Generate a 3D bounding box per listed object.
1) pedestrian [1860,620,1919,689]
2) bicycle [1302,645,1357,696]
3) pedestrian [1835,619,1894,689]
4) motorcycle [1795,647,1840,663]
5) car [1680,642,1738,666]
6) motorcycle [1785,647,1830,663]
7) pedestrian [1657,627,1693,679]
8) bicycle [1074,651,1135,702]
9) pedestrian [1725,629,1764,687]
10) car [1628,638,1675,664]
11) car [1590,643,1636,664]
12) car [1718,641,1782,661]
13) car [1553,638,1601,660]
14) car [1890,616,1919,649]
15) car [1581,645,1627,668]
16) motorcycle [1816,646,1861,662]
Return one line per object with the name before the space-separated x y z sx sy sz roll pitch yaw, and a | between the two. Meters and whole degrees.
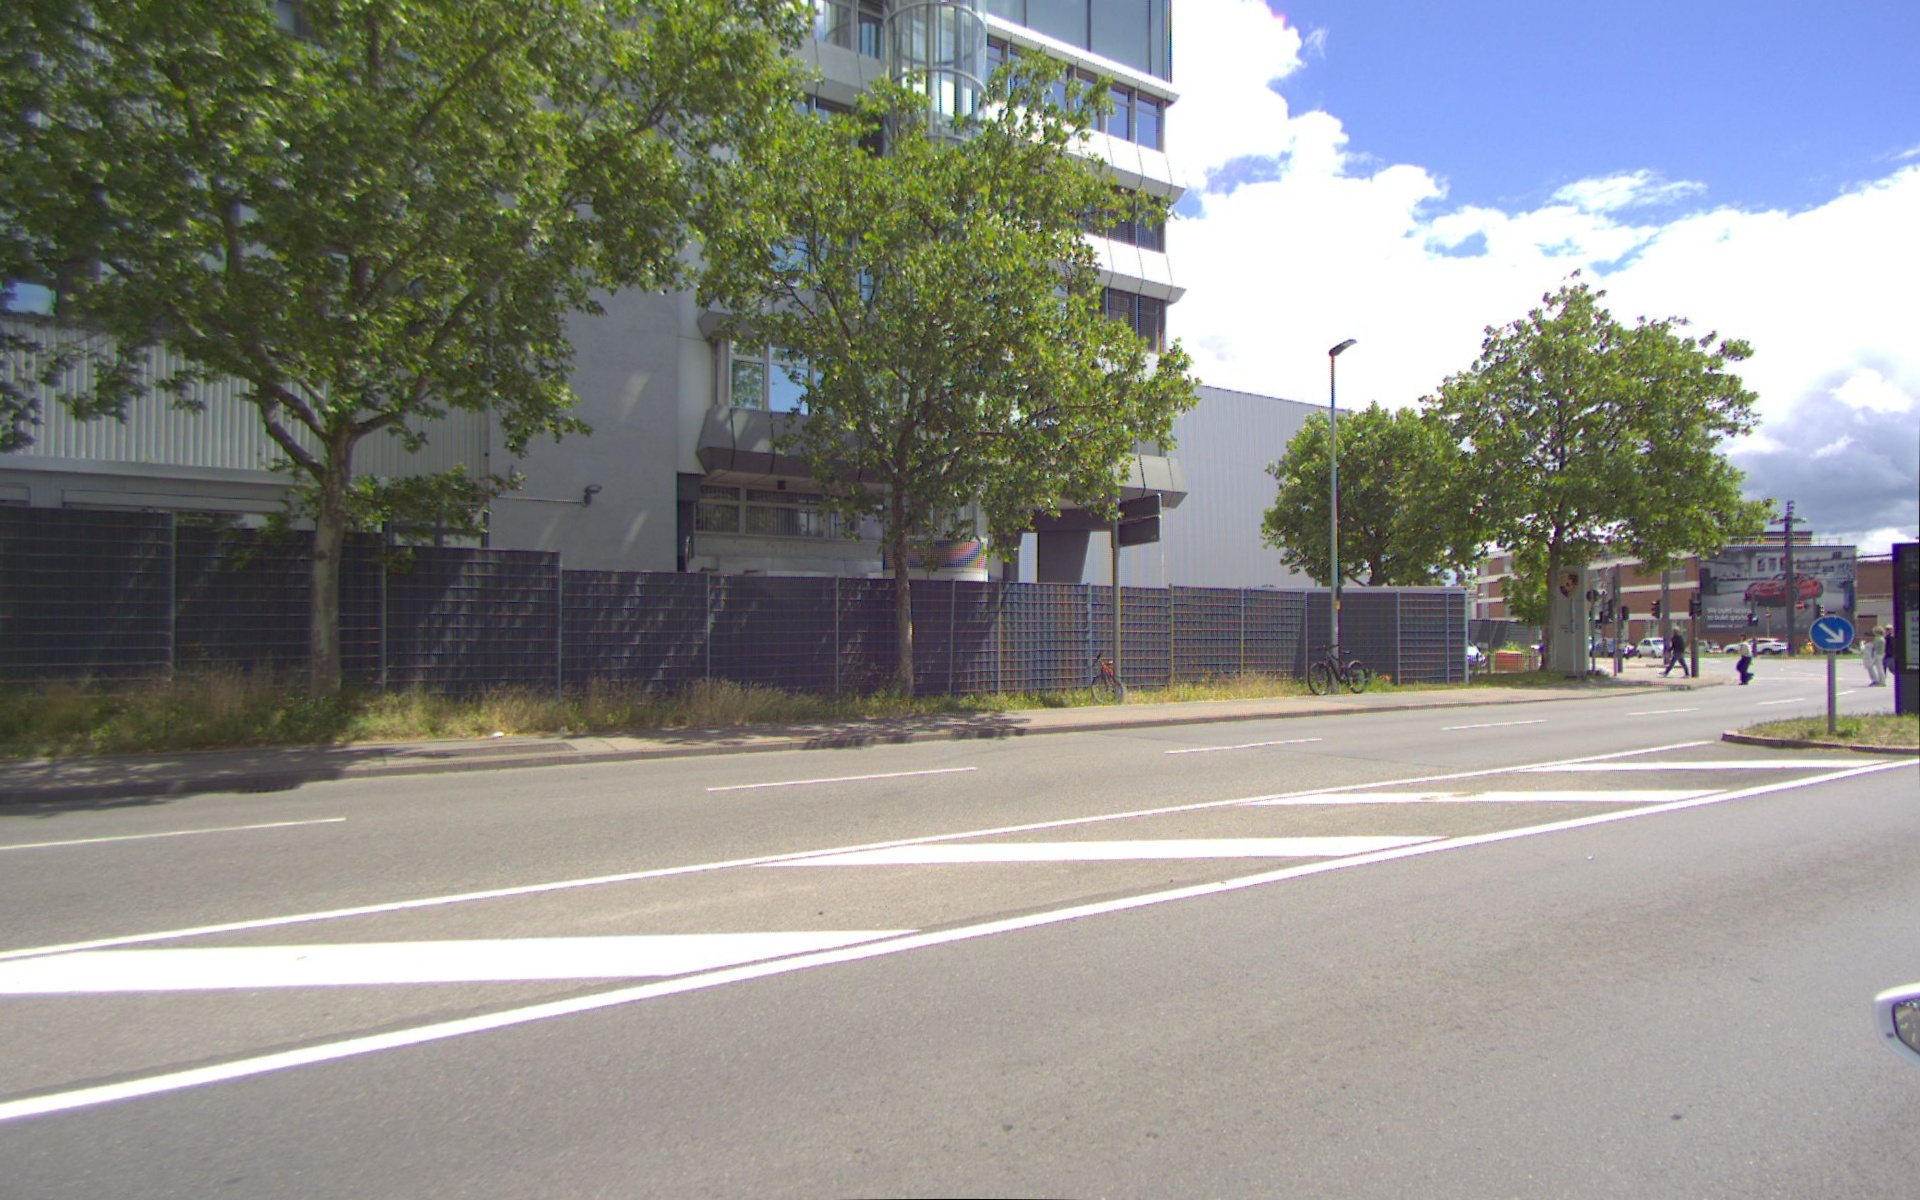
pedestrian | 28.688 1.663 31.002 0.934 2.082 0.953 2 -1 -12
bicycle | 8.659 1.653 23.550 1.466 1.146 0.295 2 -1 -29
pedestrian | 27.716 1.640 30.785 0.934 2.082 0.953 2 -1 -12
motorcycle | 72.104 4.645 84.526 0.904 1.211 2.906 2 -1 -12
car | 55.905 4.029 75.065 1.959 1.597 4.003 2 -1 12
motorcycle | 71.120 4.620 84.324 0.904 1.211 2.906 2 -1 -12
pedestrian | 25.531 1.898 35.853 1.029 1.797 0.854 3 -1 -45
bicycle | 2.979 1.579 20.666 1.233 1.019 0.296 2 -1 -21
pedestrian | 25.380 1.870 32.508 1.029 1.797 0.854 3 -1 -45
car | 52.668 3.839 76.583 1.874 1.820 3.777 2 -1 16
car | 54.960 4.504 84.632 1.788 1.577 4.228 2 -1 12
car | 67.262 4.335 85.573 1.965 1.520 3.992 2 -1 -11
car | 49.996 3.957 81.510 1.959 1.645 4.294 2 -1 12
car | 66.771 2.253 68.434 1.972 2.199 4.629 2 -1 -23
car | 48.695 4.243 75.991 1.767 1.577 3.960 2 -1 15
motorcycle | 74.177 4.578 84.837 0.904 1.211 2.906 2 -1 -12
